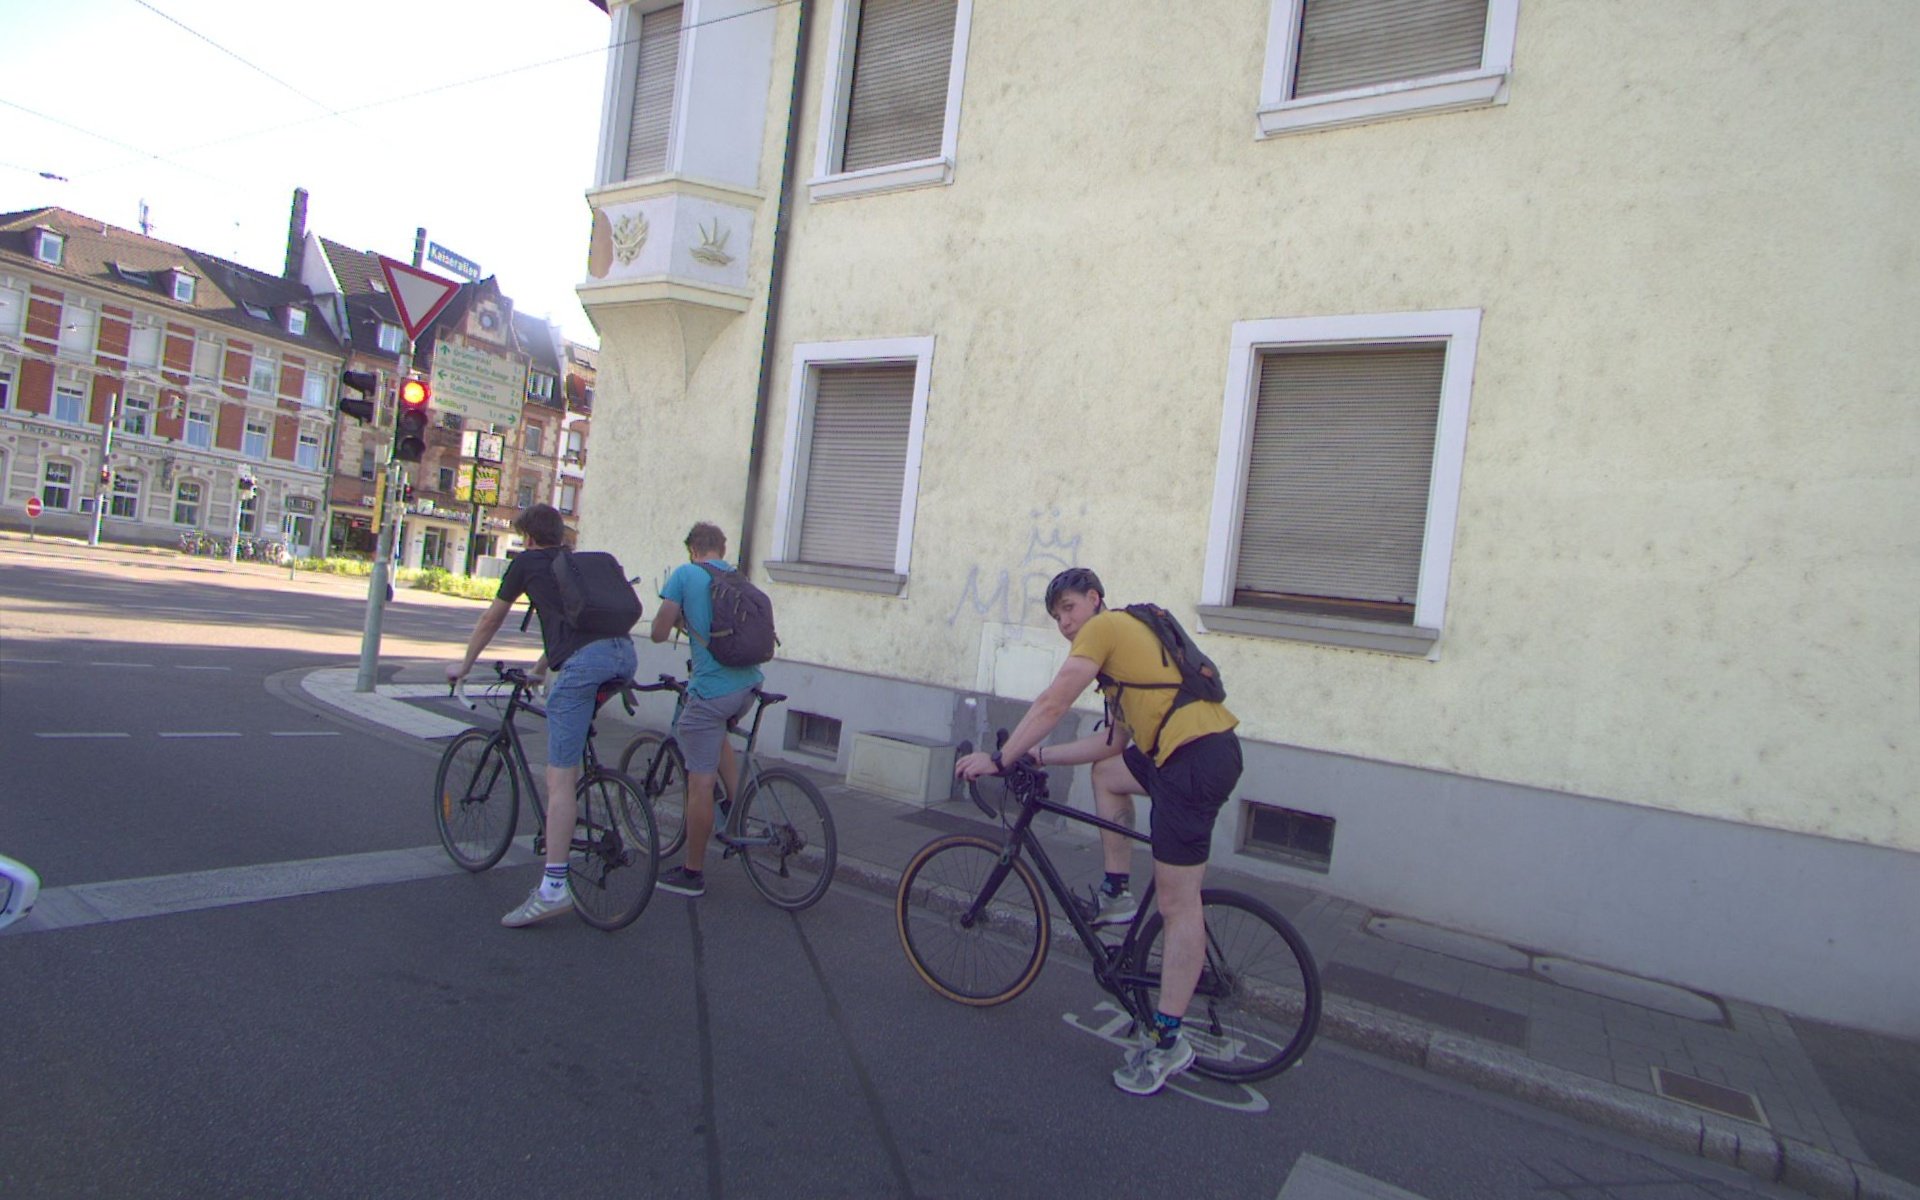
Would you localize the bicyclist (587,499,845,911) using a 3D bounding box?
[{"bbox_3d":[-1.273,0.496,5.251,0.961,1.917,0.602,6,-1,34],"label":"bicyclist"}]

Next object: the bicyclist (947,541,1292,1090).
[{"bbox_3d":[0.599,0.715,3.781,0.939,1.742,0.582,7,0,32],"label":"bicyclist"}]

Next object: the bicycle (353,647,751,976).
[{"bbox_3d":[-1.918,0.852,4.597,1.897,1.023,0.645,7,0,34],"label":"bicycle"}]

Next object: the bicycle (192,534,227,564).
[{"bbox_3d":[-34.542,-2.356,46.289,2.140,1.157,0.618,7,0,37],"label":"bicycle"}]

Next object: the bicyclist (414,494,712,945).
[{"bbox_3d":[-1.806,0.470,4.551,1.083,1.775,0.562,7,0,34],"label":"bicyclist"}]

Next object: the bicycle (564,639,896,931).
[{"bbox_3d":[-1.257,0.883,5.286,1.784,1.130,0.519,7,0,34],"label":"bicycle"}]

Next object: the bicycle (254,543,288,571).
[{"bbox_3d":[-33.109,-2.068,48.322,2.102,1.150,0.609,7,0,37],"label":"bicycle"}]

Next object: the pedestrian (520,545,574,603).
[{"bbox_3d":[-16.563,-1.041,40.383,1.285,2.068,1.321,7,0,31],"label":"pedestrian"}]

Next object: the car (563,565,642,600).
[{"bbox_3d":[-23.164,-1.125,65.327,2.116,1.660,4.340,7,-1,31],"label":"car"}]

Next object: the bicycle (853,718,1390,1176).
[{"bbox_3d":[0.549,1.134,3.771,1.780,1.101,0.611,7,0,32],"label":"bicycle"}]

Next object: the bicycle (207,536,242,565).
[{"bbox_3d":[-34.207,-2.308,46.766,2.140,1.157,0.618,7,0,37],"label":"bicycle"}]

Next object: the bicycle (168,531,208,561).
[{"bbox_3d":[-35.057,-2.445,45.686,2.140,1.157,0.806,7,0,37],"label":"bicycle"}]

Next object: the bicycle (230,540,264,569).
[{"bbox_3d":[-33.674,-2.161,47.518,2.140,1.157,0.618,7,0,37],"label":"bicycle"}]
